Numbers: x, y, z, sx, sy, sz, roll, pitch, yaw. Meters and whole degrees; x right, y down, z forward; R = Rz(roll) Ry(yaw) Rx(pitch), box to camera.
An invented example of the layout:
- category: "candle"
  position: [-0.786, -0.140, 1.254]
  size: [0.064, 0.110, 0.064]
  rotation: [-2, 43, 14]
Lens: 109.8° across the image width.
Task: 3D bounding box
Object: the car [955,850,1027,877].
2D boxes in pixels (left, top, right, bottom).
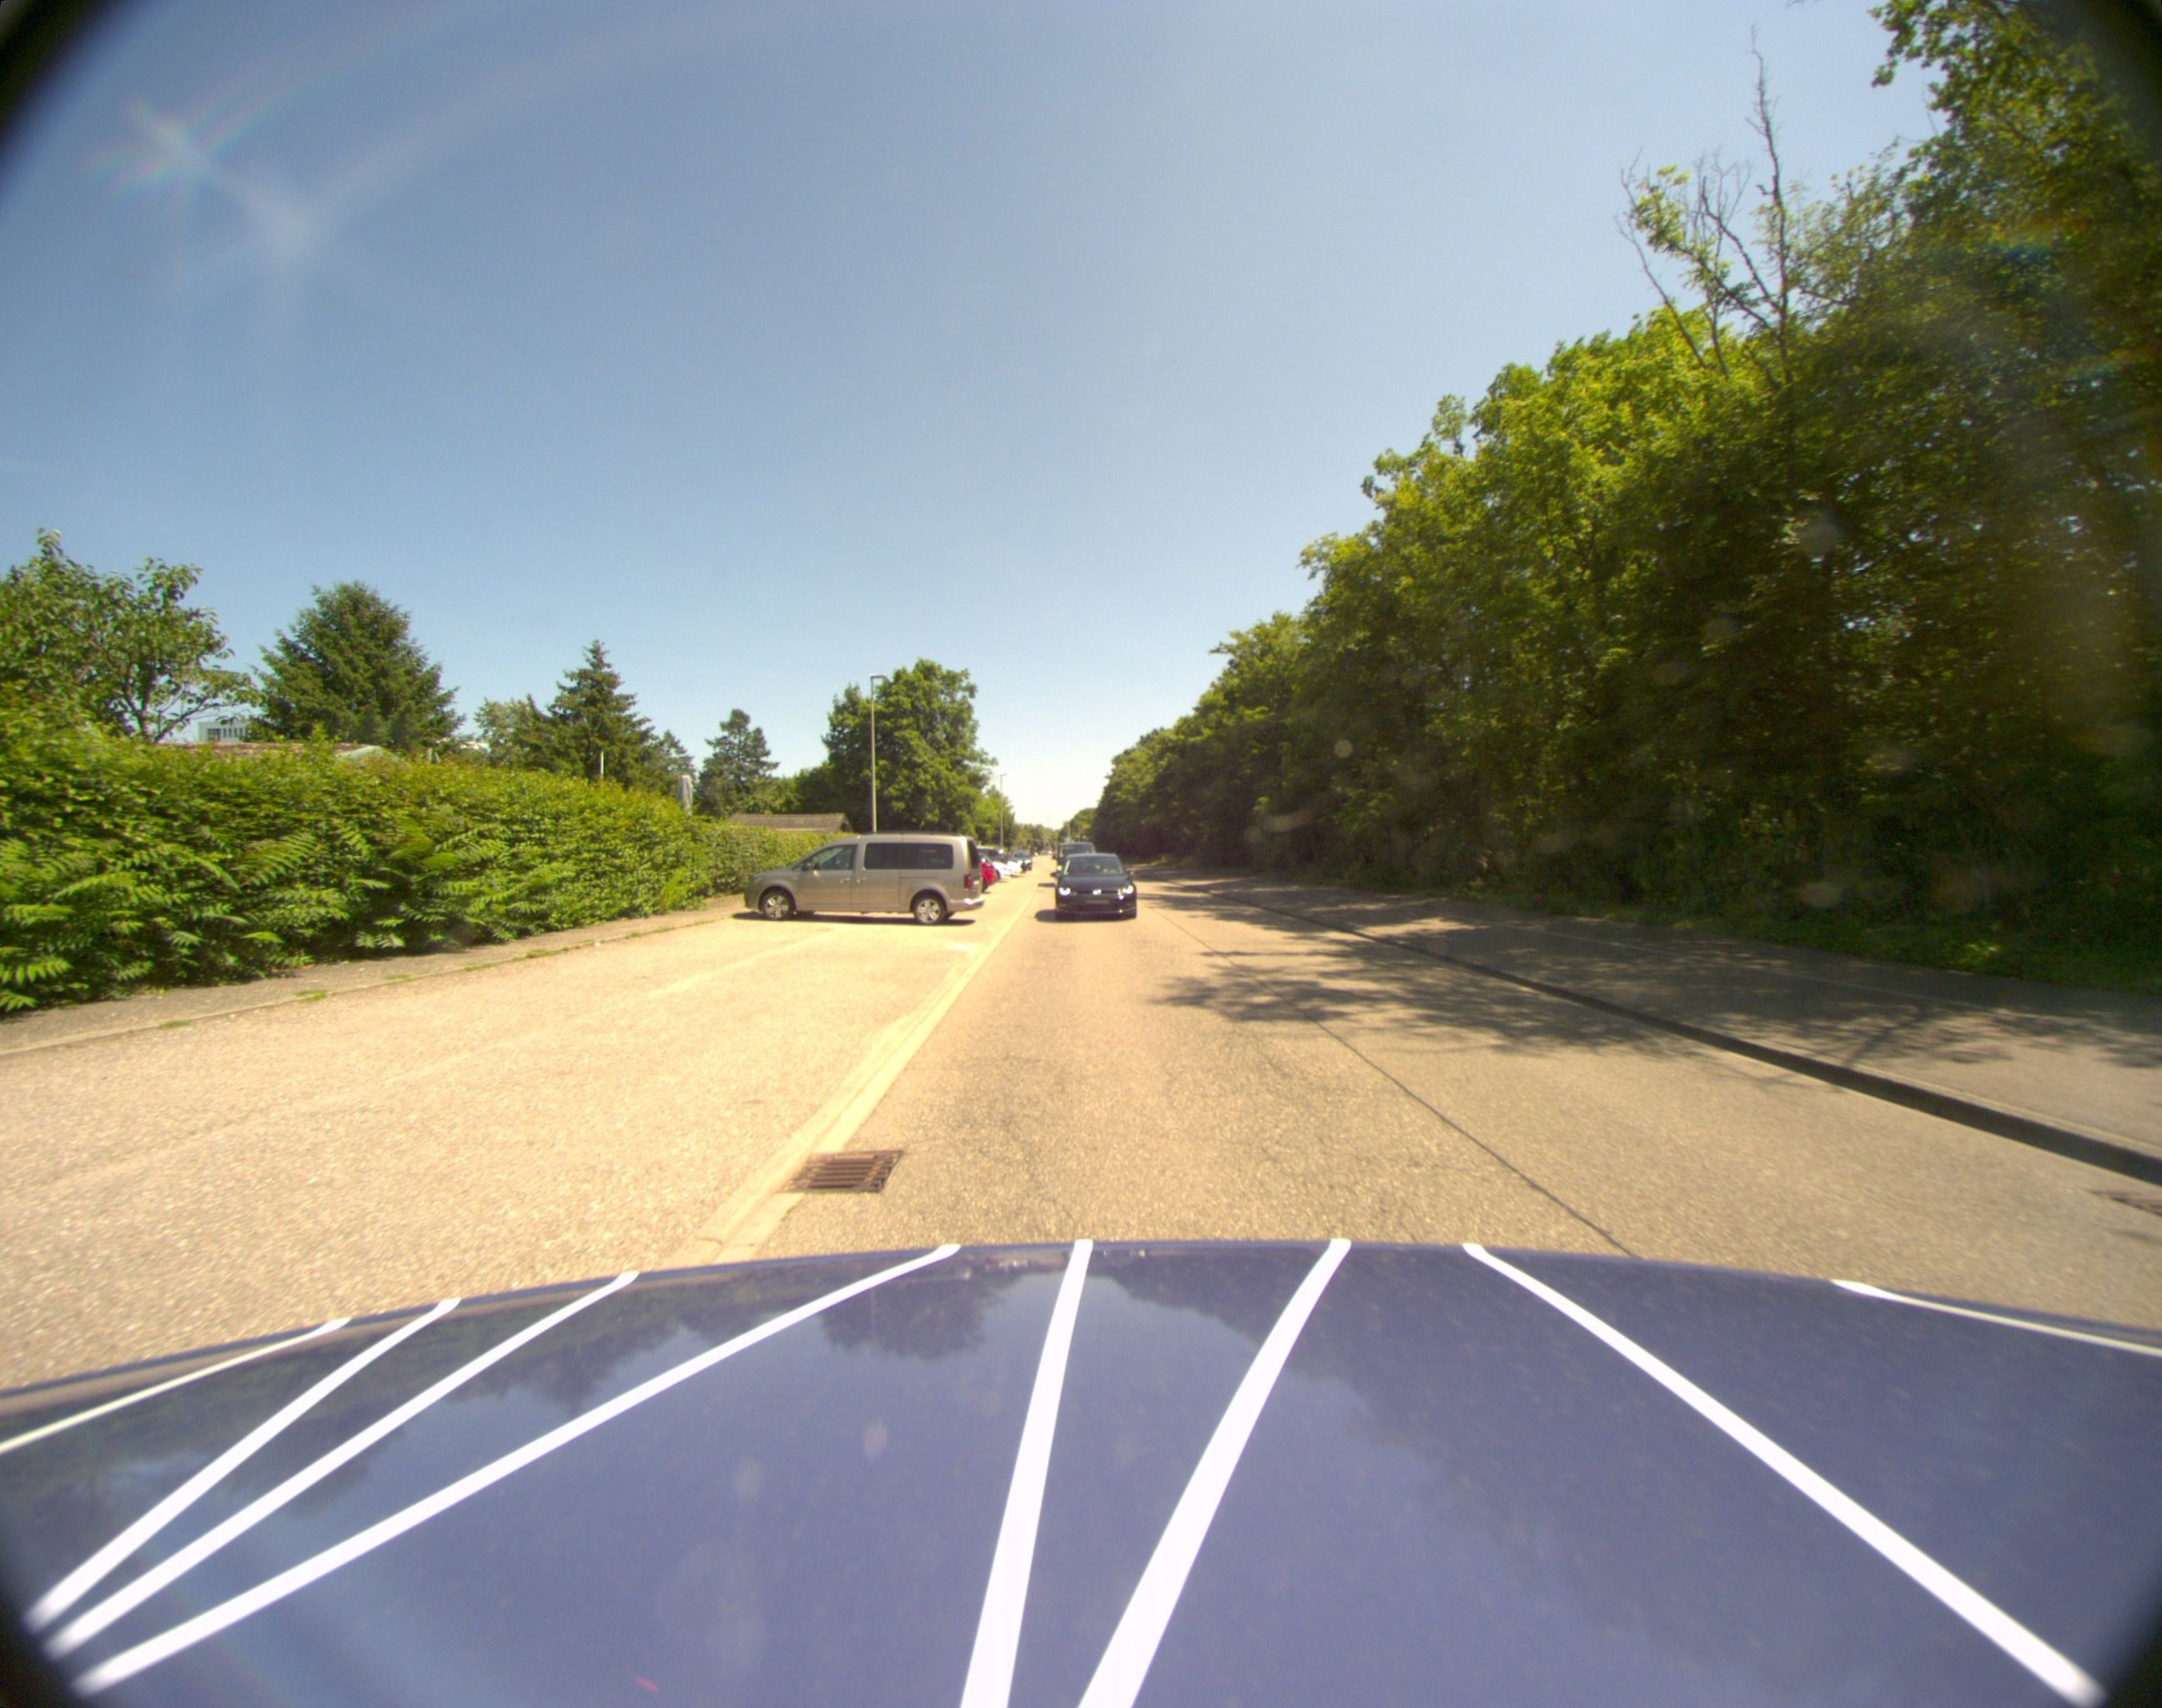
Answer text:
- category: "car"
  position: [-5.188, 0.549, 44.287]
  size: [4.007, 1.444, 1.831]
  rotation: [1, 0, -2]

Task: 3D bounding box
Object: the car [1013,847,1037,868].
- category: "car"
  position: [-4.577, 0.284, 62.094]
  size: [1.794, 1.473, 4.663]
  rotation: [4, -1, -4]

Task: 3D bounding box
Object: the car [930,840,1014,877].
- category: "car"
  position: [-5.969, 0.238, 41.849]
  size: [4.269, 1.688, 1.853]
  rotation: [4, 0, -1]

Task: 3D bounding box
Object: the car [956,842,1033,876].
- category: "car"
  position: [-5.262, 0.309, 46.664]
  size: [4.482, 1.694, 1.913]
  rotation: [5, 0, -2]

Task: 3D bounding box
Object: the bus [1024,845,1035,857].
- category: "bus"
  position: [-14.645, -0.825, 217.222]
  size: [2.931, 3.248, 8.328]
  rotation: [0, 0, -2]

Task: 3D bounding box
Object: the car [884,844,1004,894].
- category: "car"
  position: [-4.884, 0.535, 27.448]
  size: [3.929, 1.470, 1.845]
  rotation: [4, 0, -1]

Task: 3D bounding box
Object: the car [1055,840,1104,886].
- category: "car"
  position: [-0.132, 0.383, 34.956]
  size: [2.002, 1.965, 4.449]
  rotation: [0, 0, -4]

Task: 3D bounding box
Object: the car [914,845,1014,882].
- category: "car"
  position: [-5.608, 0.457, 36.871]
  size: [4.572, 1.430, 1.960]
  rotation: [4, 0, -5]

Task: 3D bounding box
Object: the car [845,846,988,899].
- category: "car"
  position: [-5.249, 0.592, 24.685]
  size: [4.215, 1.380, 1.840]
  rotation: [4, 0, -2]

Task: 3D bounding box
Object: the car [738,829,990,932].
- category: "car"
  position: [-4.377, 0.532, 15.896]
  size: [4.633, 1.837, 1.996]
  rotation: [2, 0, 0]

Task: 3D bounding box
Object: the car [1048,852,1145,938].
- category: "car"
  position: [0.324, 0.849, 17.212]
  size: [1.887, 1.667, 4.663]
  rotation: [0, -1, 1]
